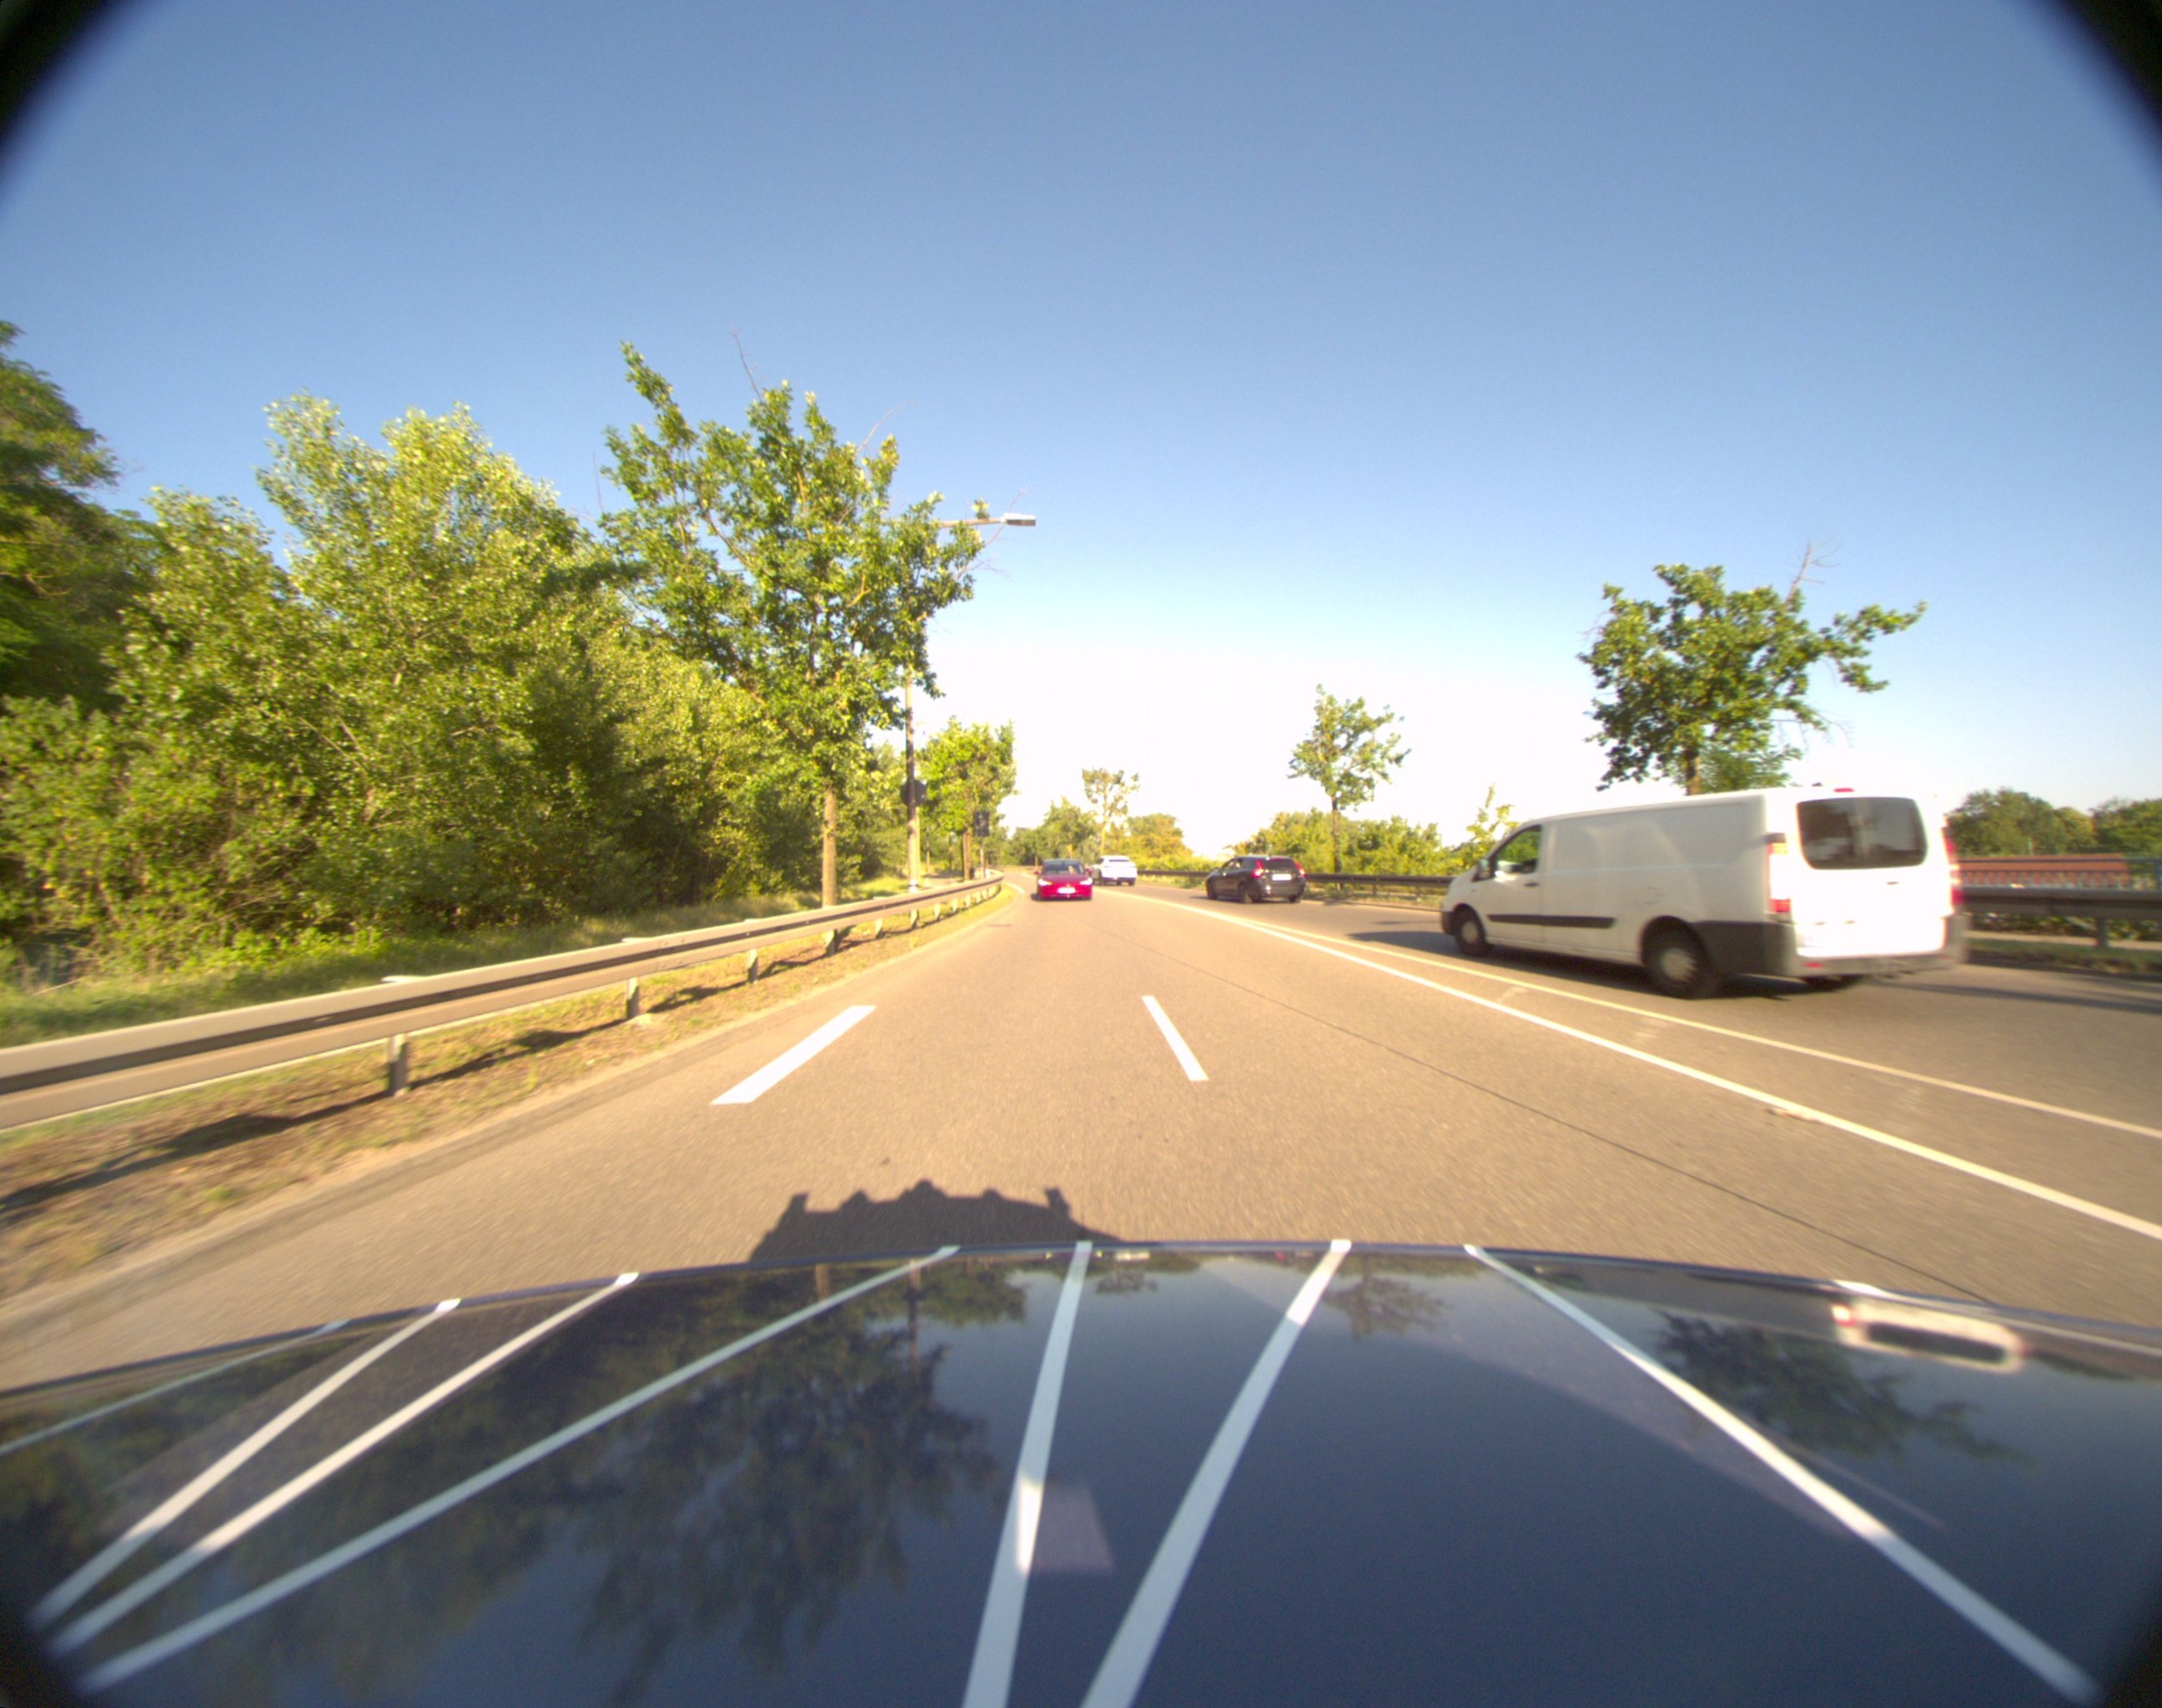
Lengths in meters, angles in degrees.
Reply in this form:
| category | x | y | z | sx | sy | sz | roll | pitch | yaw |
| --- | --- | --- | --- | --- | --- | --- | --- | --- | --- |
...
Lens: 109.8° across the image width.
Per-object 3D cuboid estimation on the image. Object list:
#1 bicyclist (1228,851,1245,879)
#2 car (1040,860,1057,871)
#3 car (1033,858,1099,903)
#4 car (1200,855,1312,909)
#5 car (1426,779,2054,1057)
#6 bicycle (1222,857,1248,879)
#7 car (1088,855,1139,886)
| category | x | y | z | sx | sy | sz | roll | pitch | yaw |
| --- | --- | --- | --- | --- | --- | --- | --- | --- | --- |
| bicyclist | 8.026 | 0.576 | 39.334 | 0.601 | 1.450 | 0.828 | 1 | 0 | -8 |
| car | -4.374 | 1.522 | 100.997 | 1.689 | 1.415 | 3.855 | 1 | -1 | -10 |
| car | -0.627 | 0.890 | 26.947 | 1.783 | 1.433 | 4.356 | 1 | 0 | -9 |
| car | 5.322 | 0.799 | 23.746 | 1.778 | 1.457 | 4.379 | -2 | 0 | -10 |
| car | 6.236 | 0.456 | 8.362 | 1.884 | 2.002 | 5.256 | -3 | 1 | -8 |
| bicycle | 7.979 | 0.727 | 39.425 | 0.584 | 1.070 | 2.311 | 1 | 0 | -8 |
| car | 1.736 | 0.869 | 41.661 | 1.834 | 1.580 | 4.644 | -1 | 0 | -10 |
